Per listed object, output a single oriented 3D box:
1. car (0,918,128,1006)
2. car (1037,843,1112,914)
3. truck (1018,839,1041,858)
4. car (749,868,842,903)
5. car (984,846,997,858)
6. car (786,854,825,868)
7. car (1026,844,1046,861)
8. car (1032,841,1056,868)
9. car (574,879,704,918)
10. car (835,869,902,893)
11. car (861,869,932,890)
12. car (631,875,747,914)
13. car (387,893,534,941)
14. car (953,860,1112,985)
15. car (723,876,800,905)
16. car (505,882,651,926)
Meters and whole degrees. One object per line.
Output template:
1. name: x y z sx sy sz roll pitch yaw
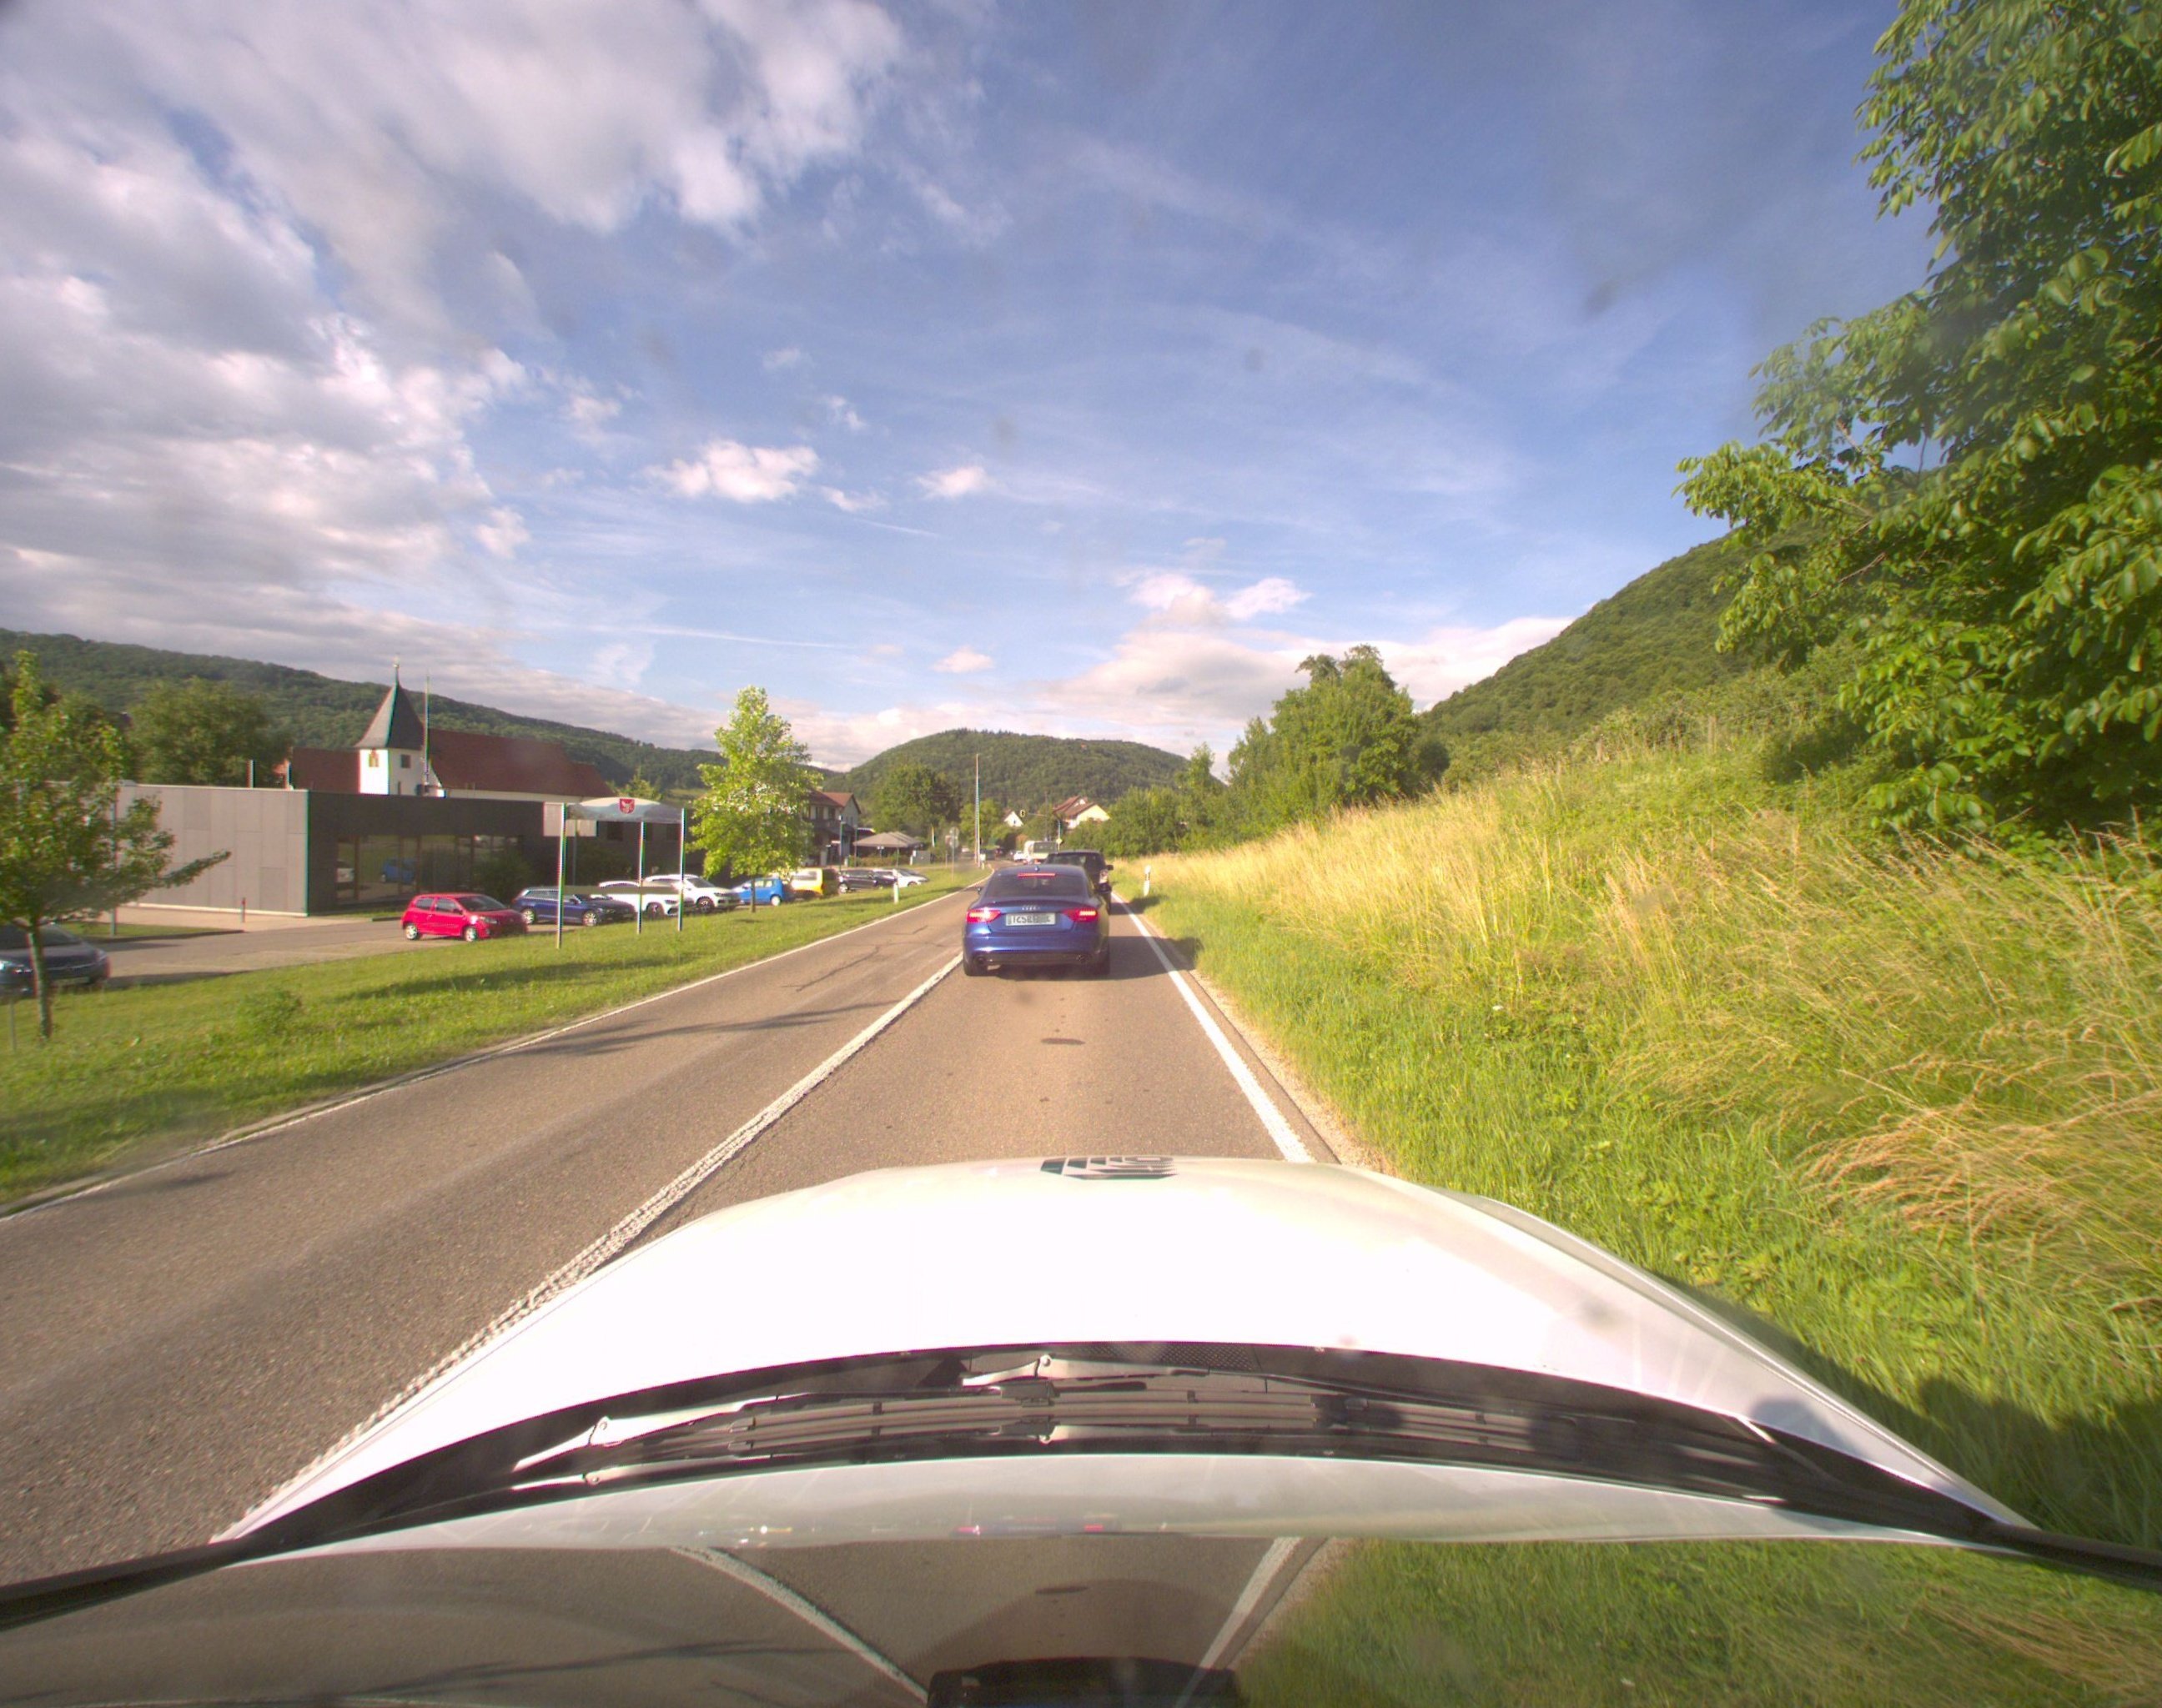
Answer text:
1. car: -21.825 2.088 16.239 3.985 1.451 1.688 0 2 7
2. car: -0.084 0.591 21.040 1.739 1.639 4.002 0 0 2
3. truck: -5.521 -0.523 87.314 1.698 1.953 5.898 0 0 -11
4. car: -16.171 1.769 46.148 4.579 1.868 2.007 0 -1 12
5. car: -13.096 -0.284 117.998 1.733 1.662 3.461 0 0 -8
6. car: -29.571 0.757 87.499 1.749 1.442 4.021 -1 -1 22
7. car: -4.522 -0.166 81.948 1.744 1.639 3.991 0 0 -6
8. car: -3.166 0.060 69.472 1.744 2.195 3.991 0 -1 -6
9. car: -18.699 1.867 34.561 4.511 1.555 2.005 0 -1 9
10. car: -14.602 1.840 56.081 4.001 1.637 2.005 0 -1 9
11. car: -13.689 1.864 60.603 4.785 1.493 1.886 0 -1 9
12. car: -18.201 1.847 37.924 4.511 1.703 2.005 0 -1 9
13. car: -19.943 2.004 26.235 3.698 1.398 1.620 0 -1 9
14. car: -0.483 0.795 11.263 1.788 1.388 4.002 -1 0 2
15. car: -17.073 1.964 43.591 3.475 1.472 1.636 0 -1 7
16. car: -19.257 1.879 31.288 4.511 1.555 2.005 0 -1 9
